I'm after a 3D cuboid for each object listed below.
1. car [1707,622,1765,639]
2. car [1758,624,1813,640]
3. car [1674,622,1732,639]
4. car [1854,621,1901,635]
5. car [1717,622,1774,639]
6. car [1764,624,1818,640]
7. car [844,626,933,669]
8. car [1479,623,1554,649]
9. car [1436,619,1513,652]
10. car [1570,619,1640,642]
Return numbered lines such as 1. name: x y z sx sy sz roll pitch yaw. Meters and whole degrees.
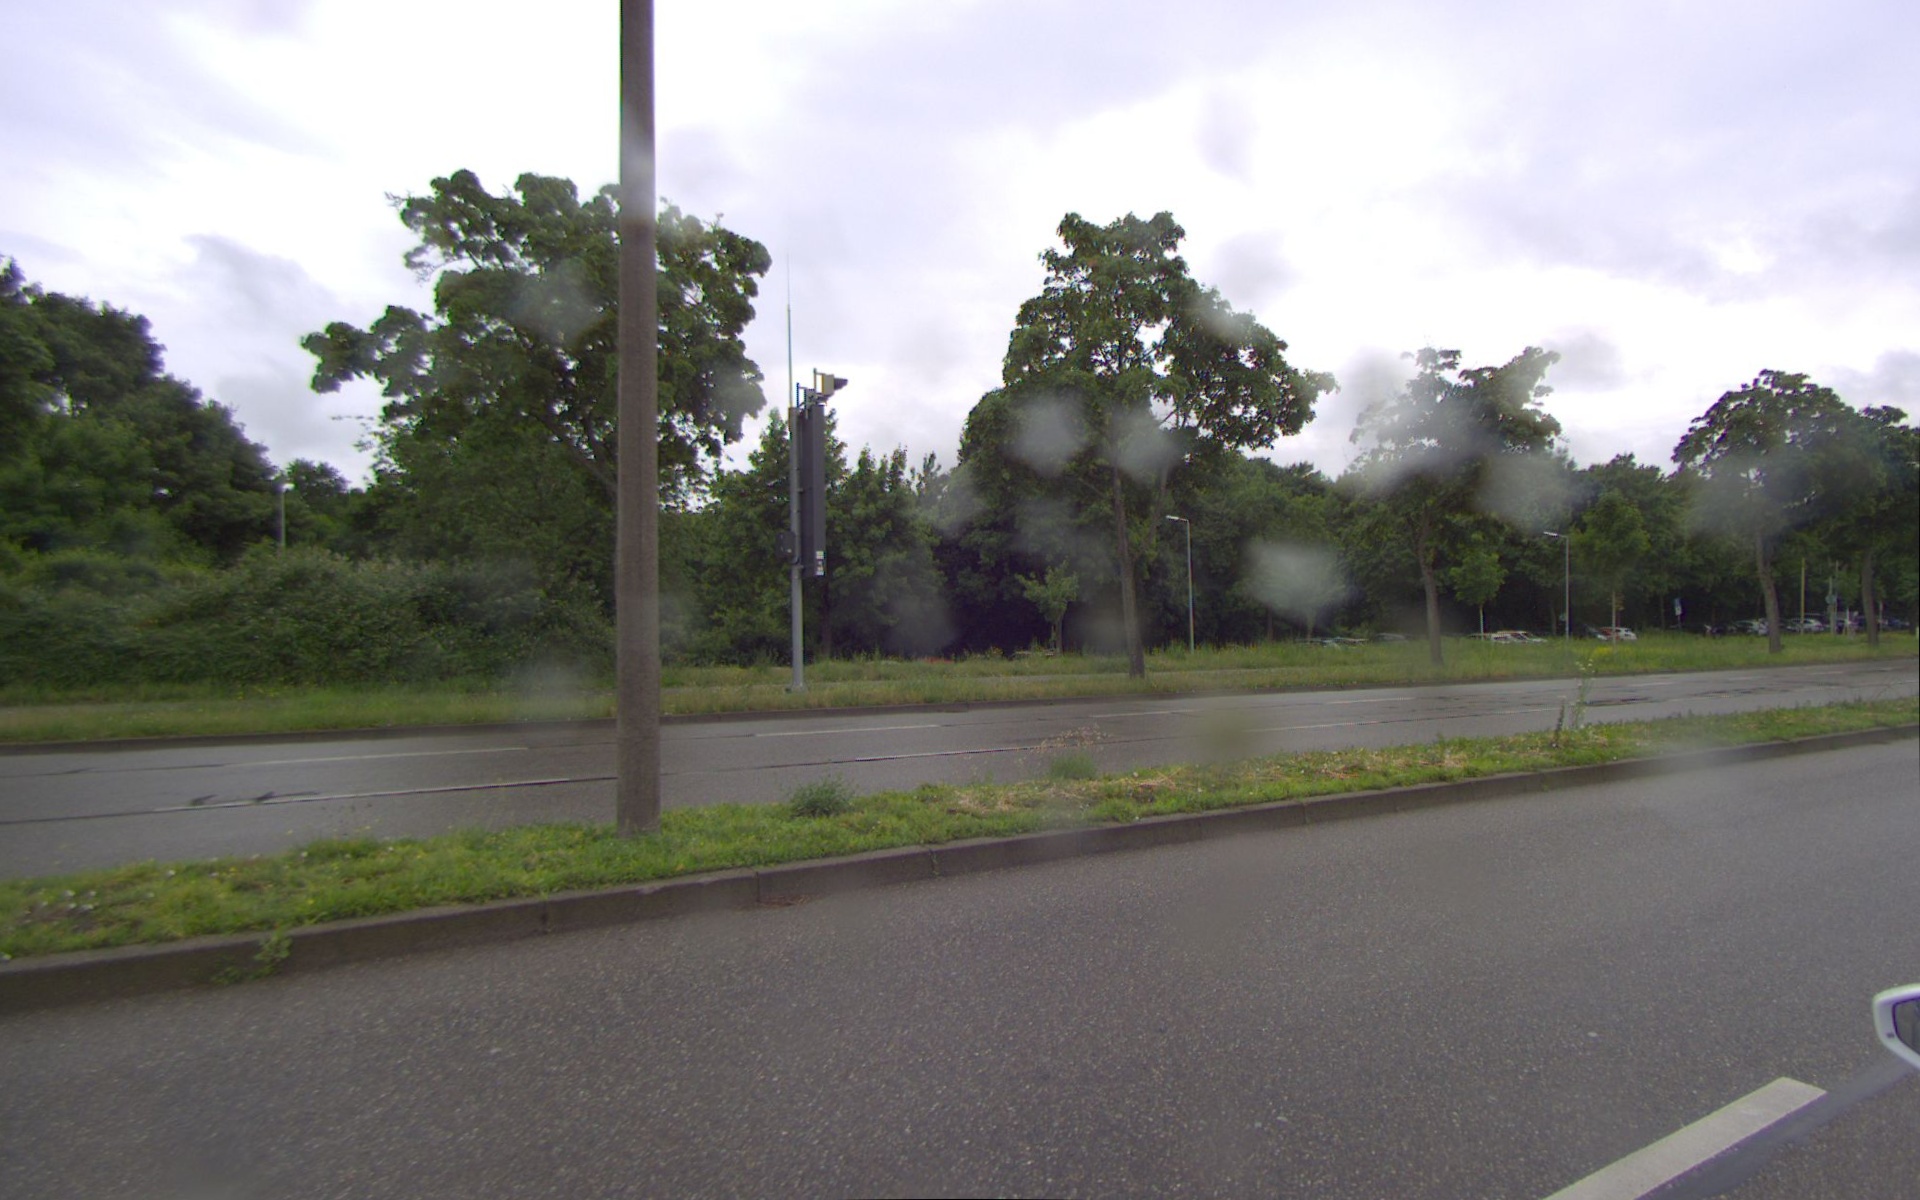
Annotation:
1. car: 69.675 2.723 90.224 1.510 1.471 3.809 0 -1 -36
2. car: 78.526 2.992 95.610 1.510 1.471 3.809 0 -1 -36
3. car: 63.491 2.603 85.859 1.474 1.445 3.708 0 -1 -36
4. car: 100.852 3.058 110.410 3.795 1.471 1.516 -1 -1 44
5. car: 71.791 2.791 91.837 1.510 1.471 3.809 0 -1 -36
6. car: 80.360 3.053 97.191 1.510 1.471 3.809 0 -1 -36
7. car: -3.058 1.949 42.344 1.981 1.707 3.959 0 -1 -36
8. car: 37.257 2.366 67.280 1.981 1.639 3.959 1 -1 -36
9. car: 33.098 2.263 64.698 1.981 2.040 3.959 0 -1 -36
10. car: 47.443 2.224 73.947 1.893 1.661 3.959 0 -1 -36
